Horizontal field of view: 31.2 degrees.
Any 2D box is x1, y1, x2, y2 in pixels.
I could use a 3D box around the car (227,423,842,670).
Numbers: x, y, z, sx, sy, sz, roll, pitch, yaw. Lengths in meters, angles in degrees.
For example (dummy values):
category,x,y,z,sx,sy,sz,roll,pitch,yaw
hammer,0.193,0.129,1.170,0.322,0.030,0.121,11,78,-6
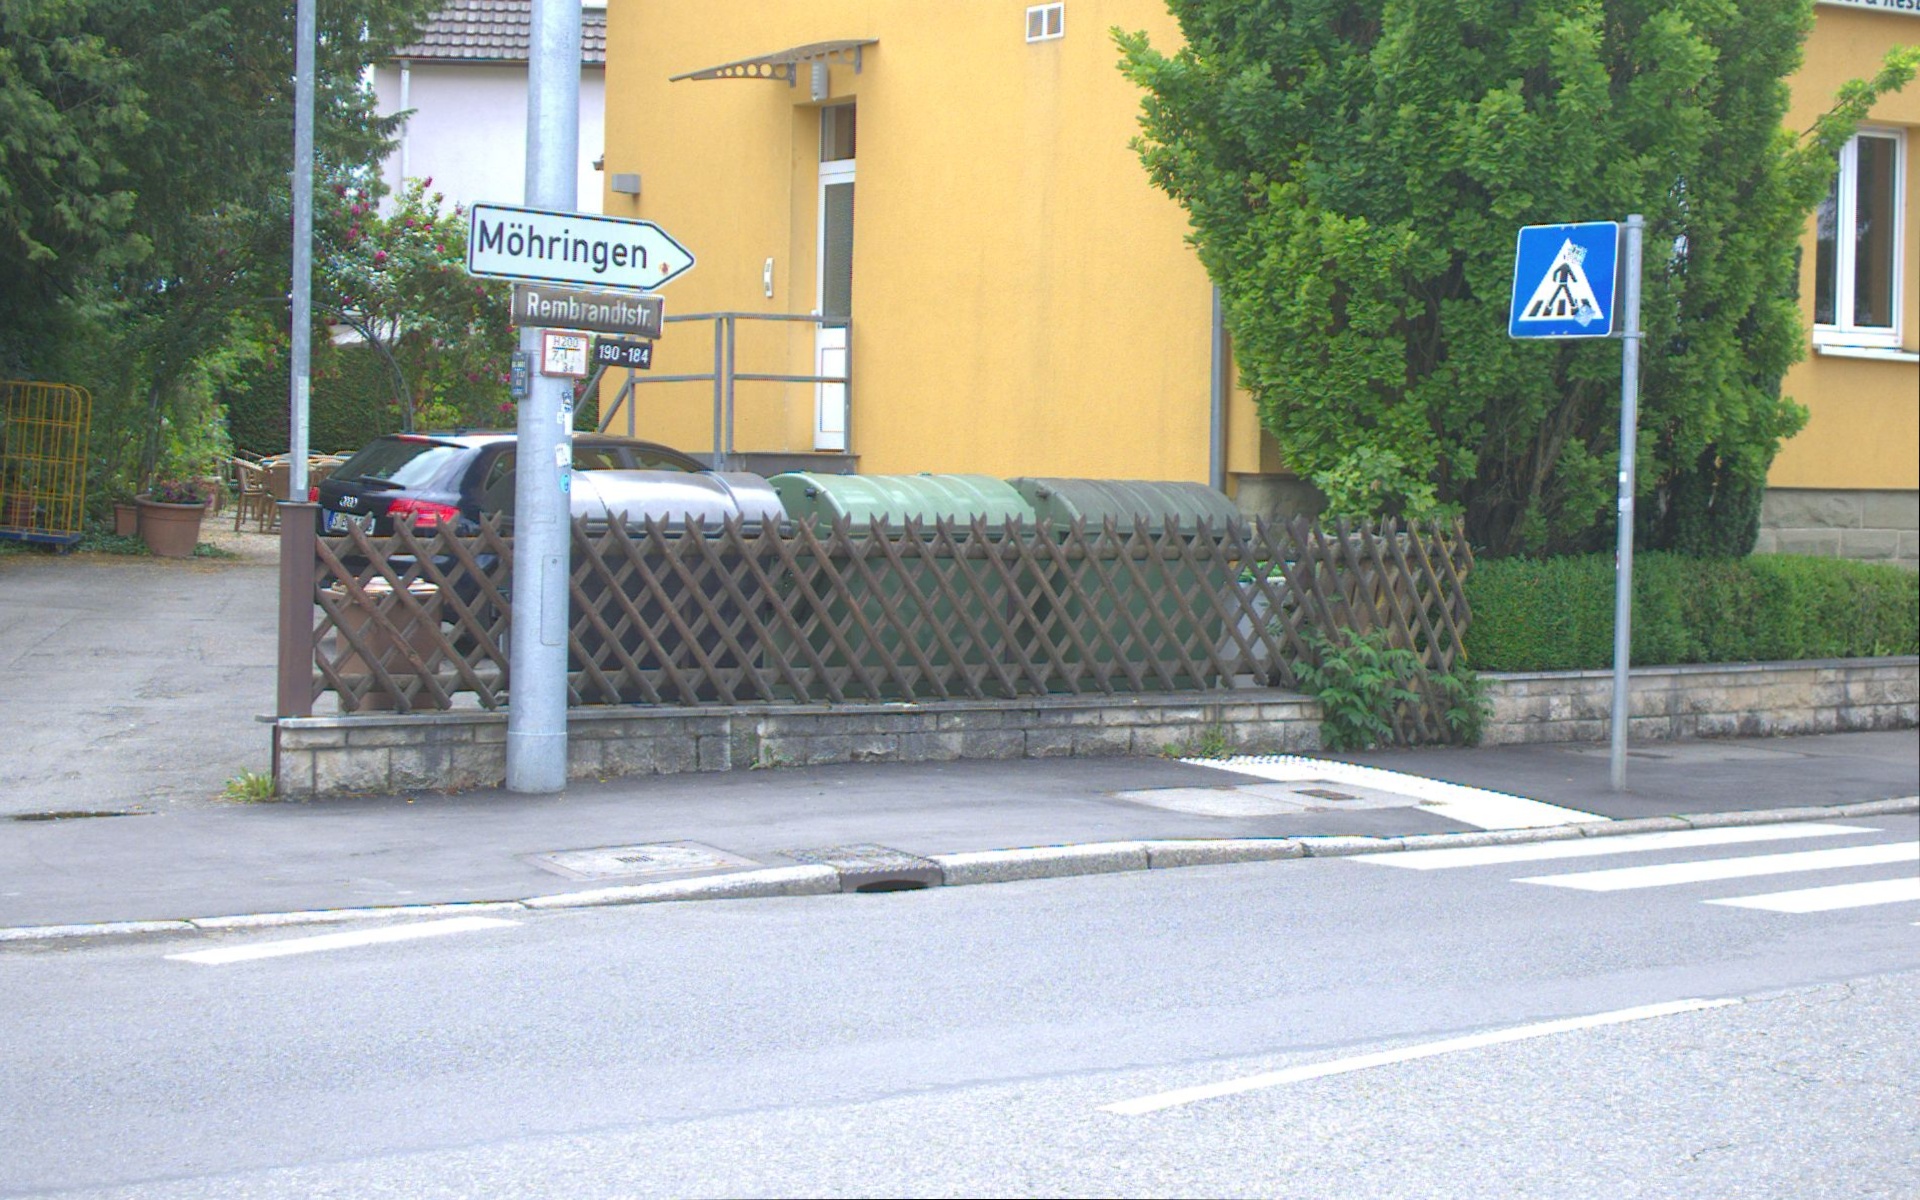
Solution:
category,x,y,z,sx,sy,sz,roll,pitch,yaw
car,-2.789,-0.416,22.825,3.669,1.422,1.727,-2,7,-39
